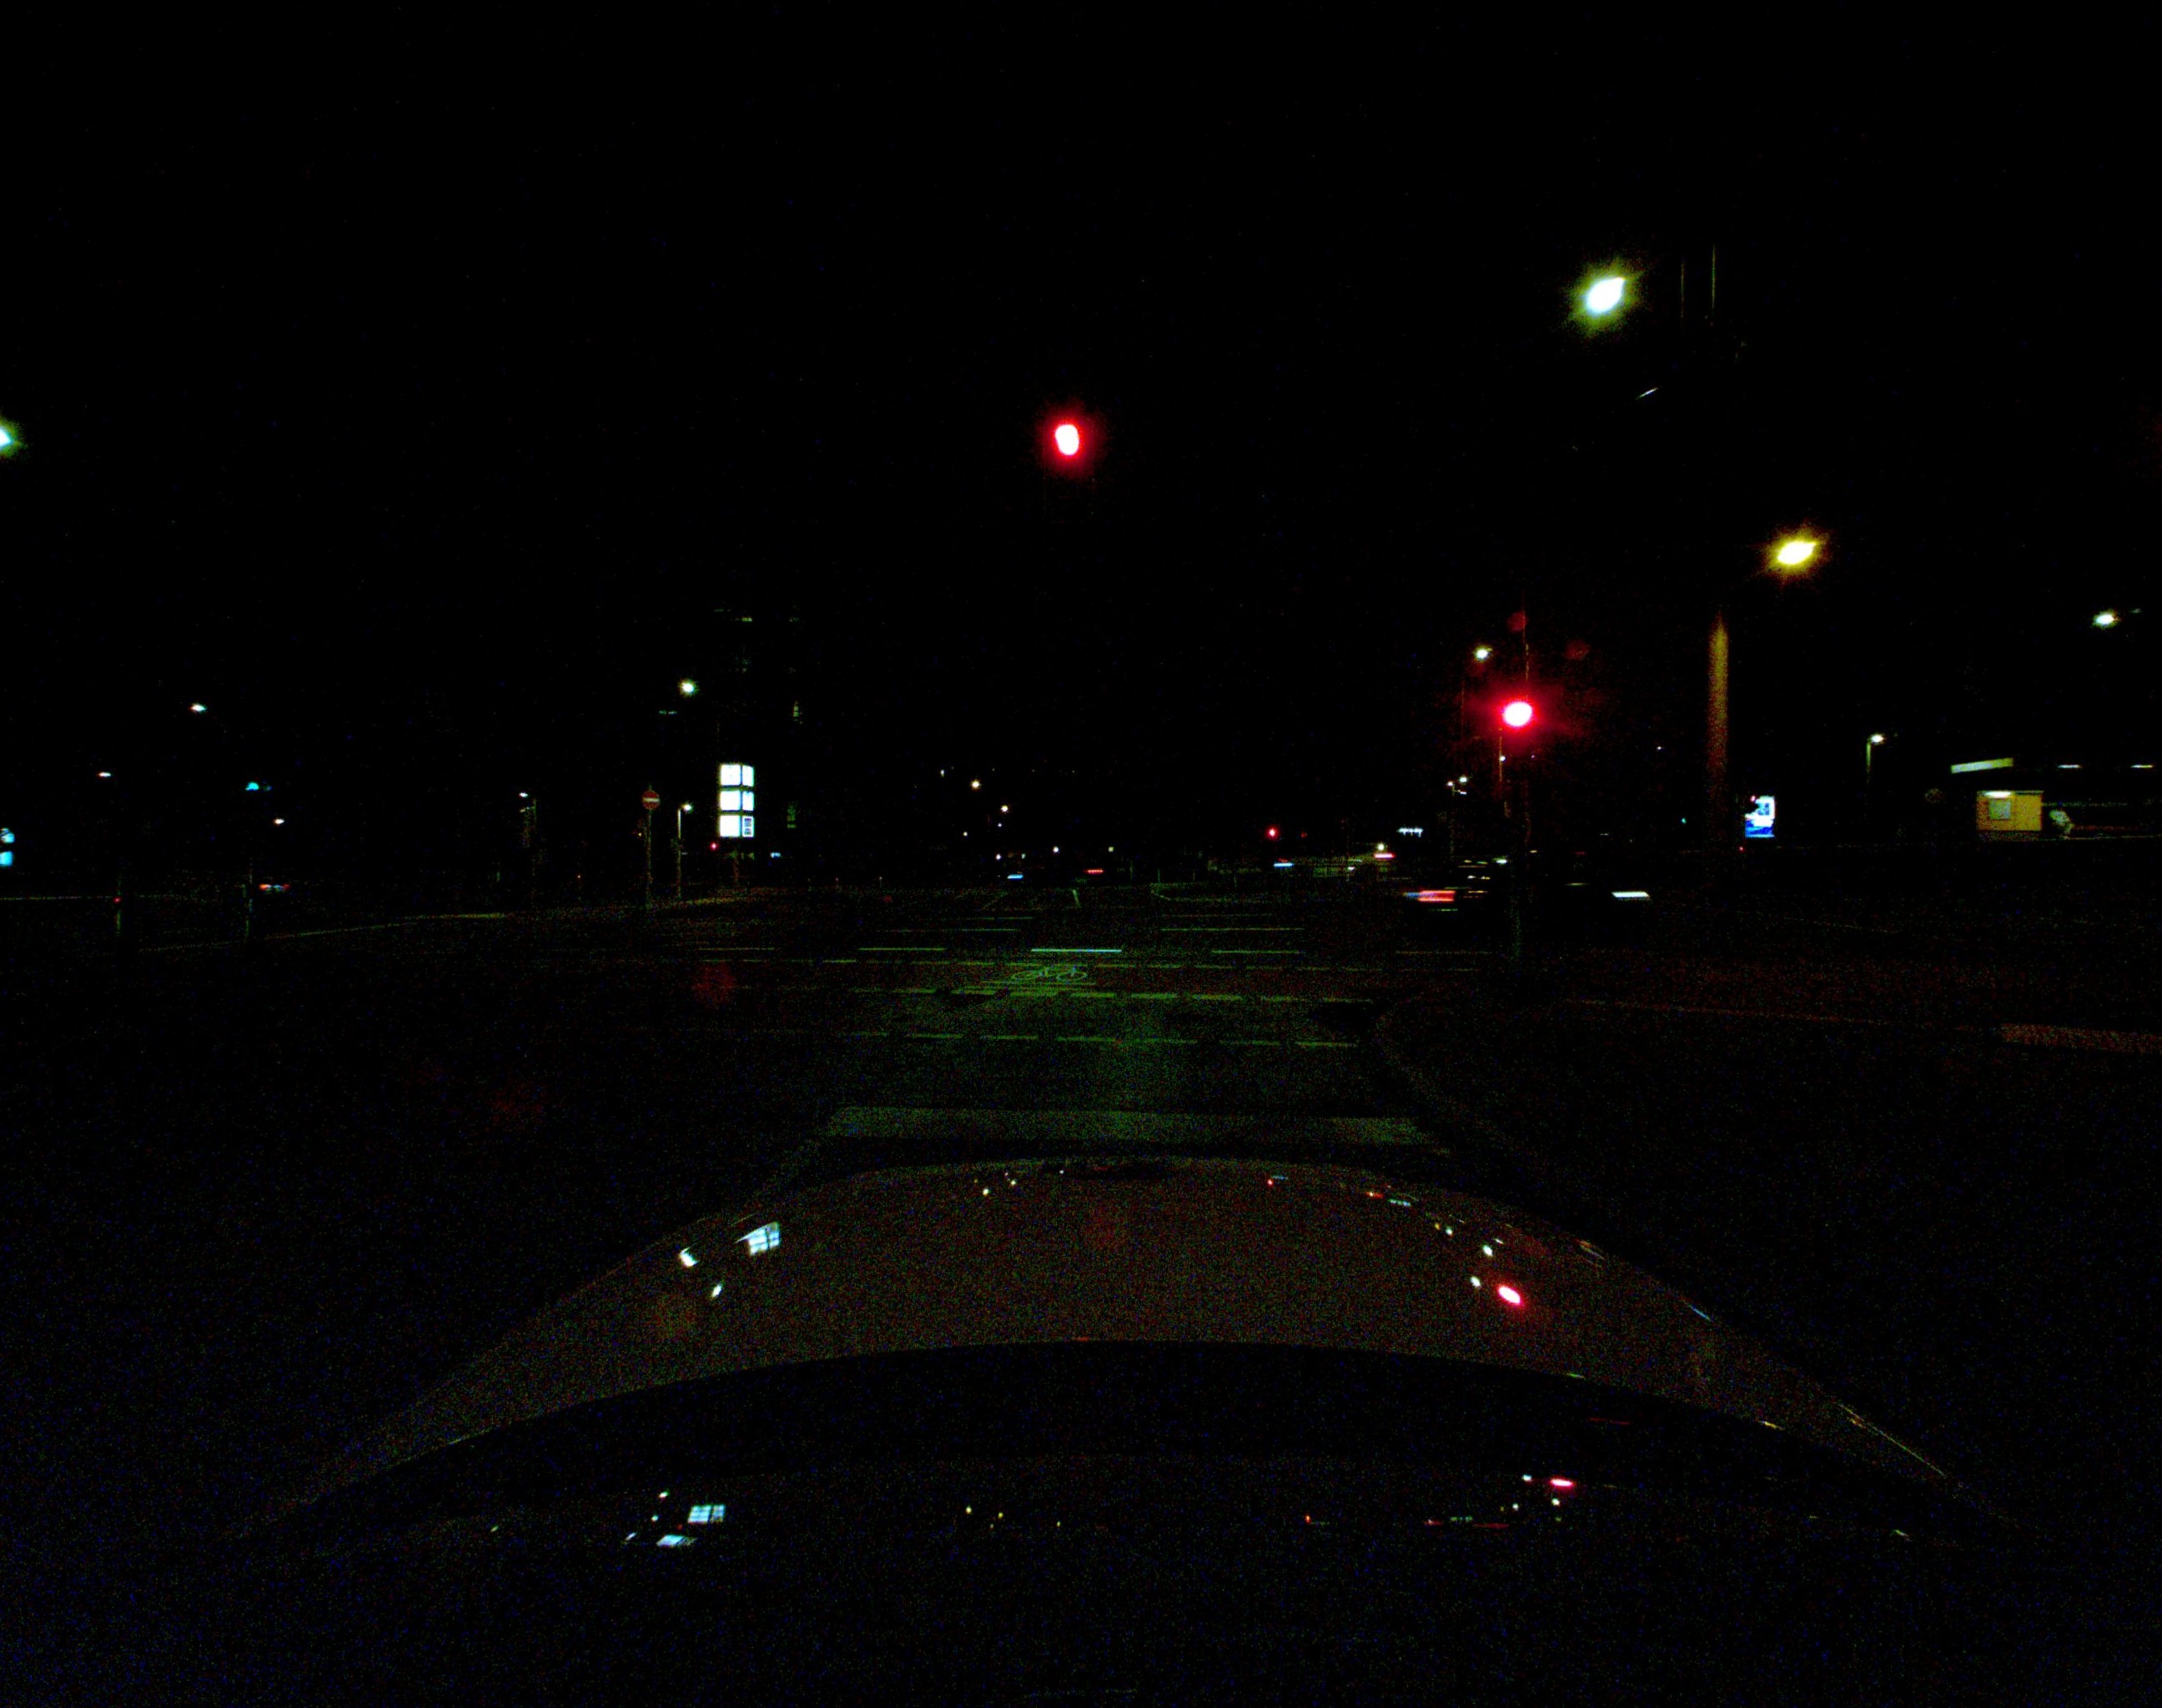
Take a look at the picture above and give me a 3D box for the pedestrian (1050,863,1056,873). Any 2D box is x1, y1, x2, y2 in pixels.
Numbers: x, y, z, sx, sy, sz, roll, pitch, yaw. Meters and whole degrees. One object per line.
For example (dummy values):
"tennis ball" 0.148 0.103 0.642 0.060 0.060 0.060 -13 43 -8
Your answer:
"pedestrian" -5.030 2.575 147.977 0.851 1.912 1.001 0 -1 -16

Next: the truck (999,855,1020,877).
"truck" -10.571 1.824 120.110 2.419 3.089 6.412 0 -1 -11

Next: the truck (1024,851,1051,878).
"truck" -8.003 1.931 149.247 3.366 4.843 7.865 0 -1 -14

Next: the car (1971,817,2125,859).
"car" 40.286 -0.665 34.016 3.966 1.585 1.807 -2 1 7

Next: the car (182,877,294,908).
"car" -46.828 2.130 45.280 4.377 1.644 1.944 0 -1 5

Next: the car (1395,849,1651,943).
"car" 8.123 0.739 15.218 3.861 1.473 1.660 -2 2 2

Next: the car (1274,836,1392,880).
"car" 11.225 0.185 36.489 4.757 1.844 1.845 -1 -1 5

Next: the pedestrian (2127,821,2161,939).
"pedestrian" 15.852 0.335 11.602 0.870 1.656 0.843 -7 -5 42

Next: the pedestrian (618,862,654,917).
"pedestrian" -14.000 1.106 25.636 0.670 1.722 0.710 -1 -2 31

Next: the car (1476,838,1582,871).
"car" 21.321 -0.006 38.852 4.041 1.424 1.846 -1 1 5

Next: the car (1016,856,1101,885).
"car" -1.168 0.891 43.752 4.307 1.388 1.845 -2 -1 5
